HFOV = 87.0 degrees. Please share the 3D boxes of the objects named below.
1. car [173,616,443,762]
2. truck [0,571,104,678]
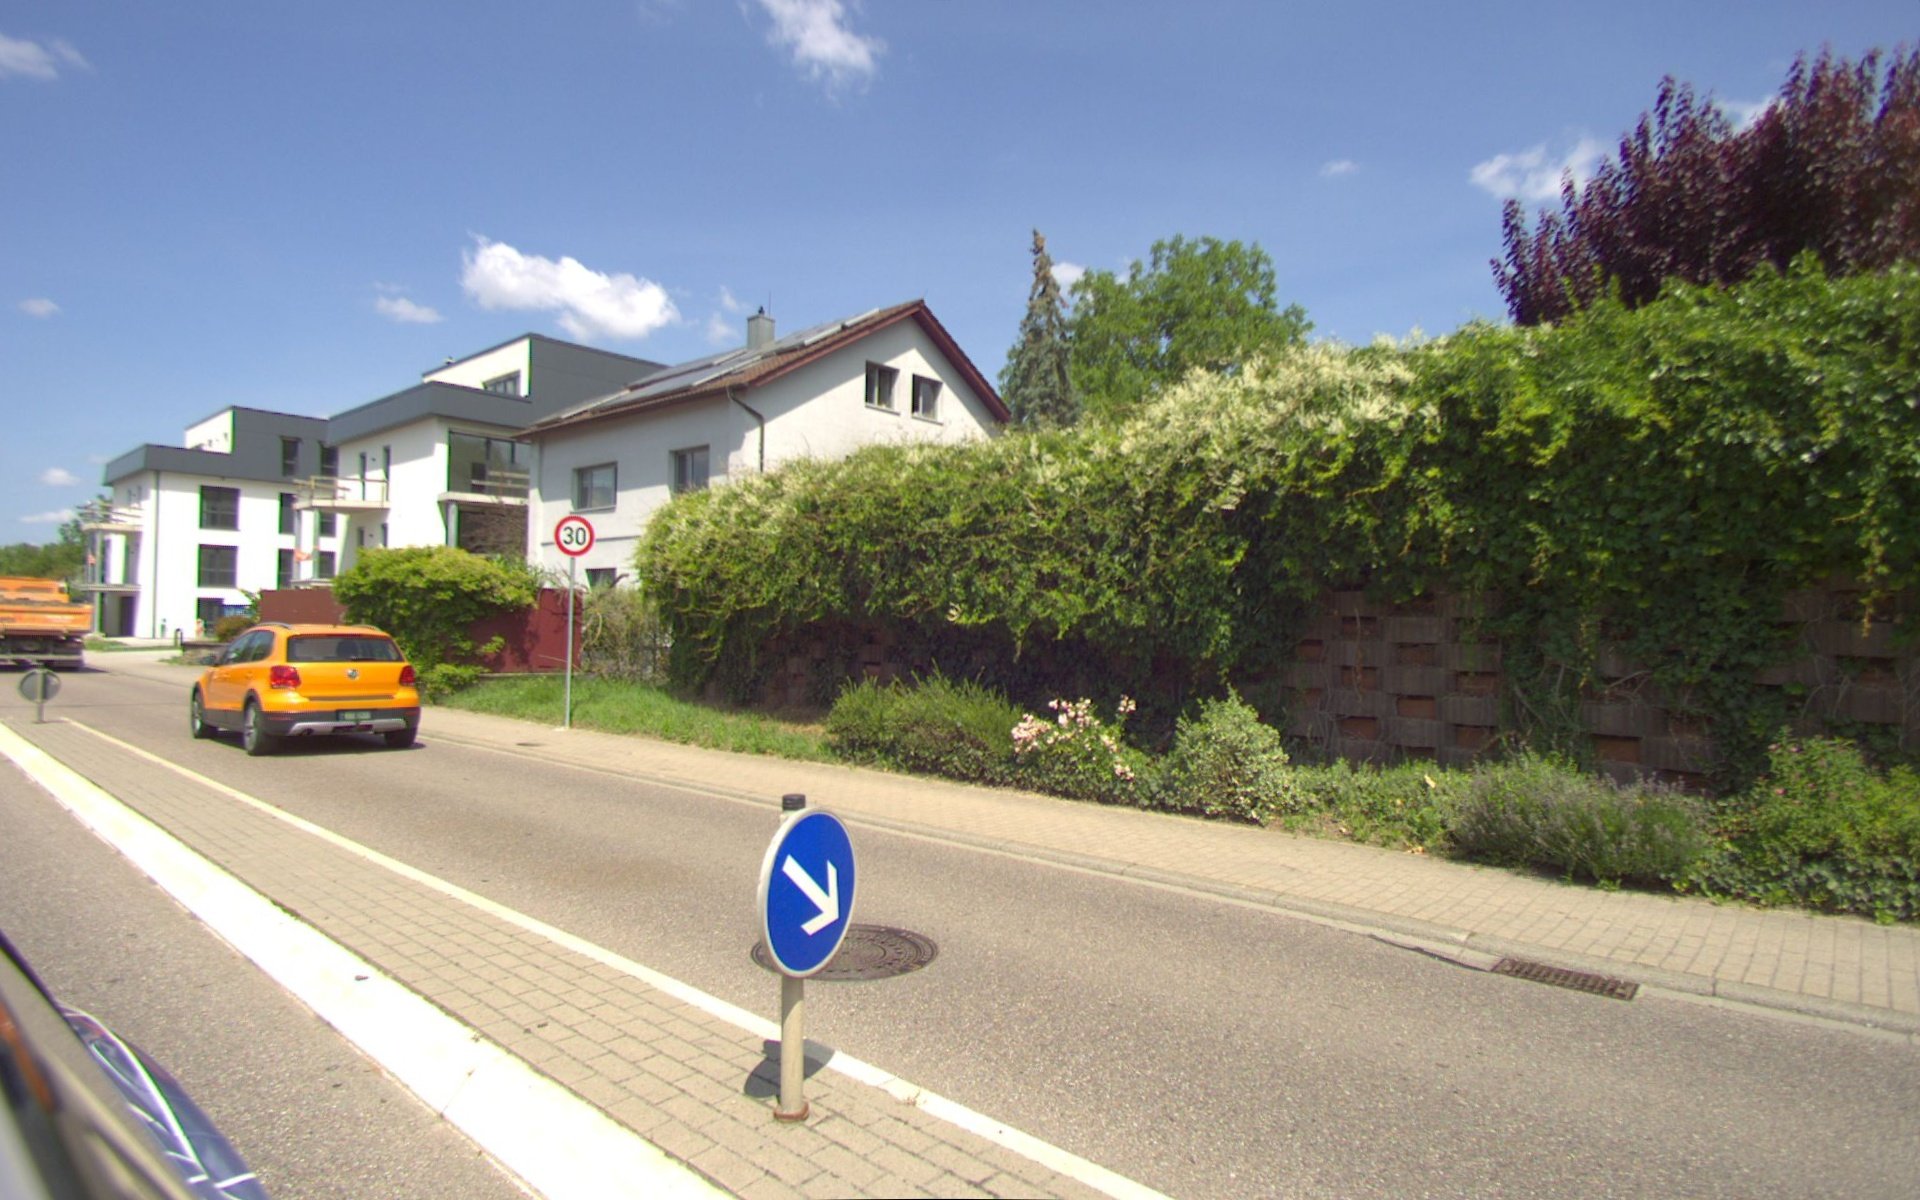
[{"bbox_3d":[-7.991,0.983,12.303,3.612,1.500,1.776,-1,-4,41],"label":"car"},{"bbox_3d":[-26.818,0.683,28.691,6.788,2.731,2.827,-1,-3,41],"label":"truck"}]
